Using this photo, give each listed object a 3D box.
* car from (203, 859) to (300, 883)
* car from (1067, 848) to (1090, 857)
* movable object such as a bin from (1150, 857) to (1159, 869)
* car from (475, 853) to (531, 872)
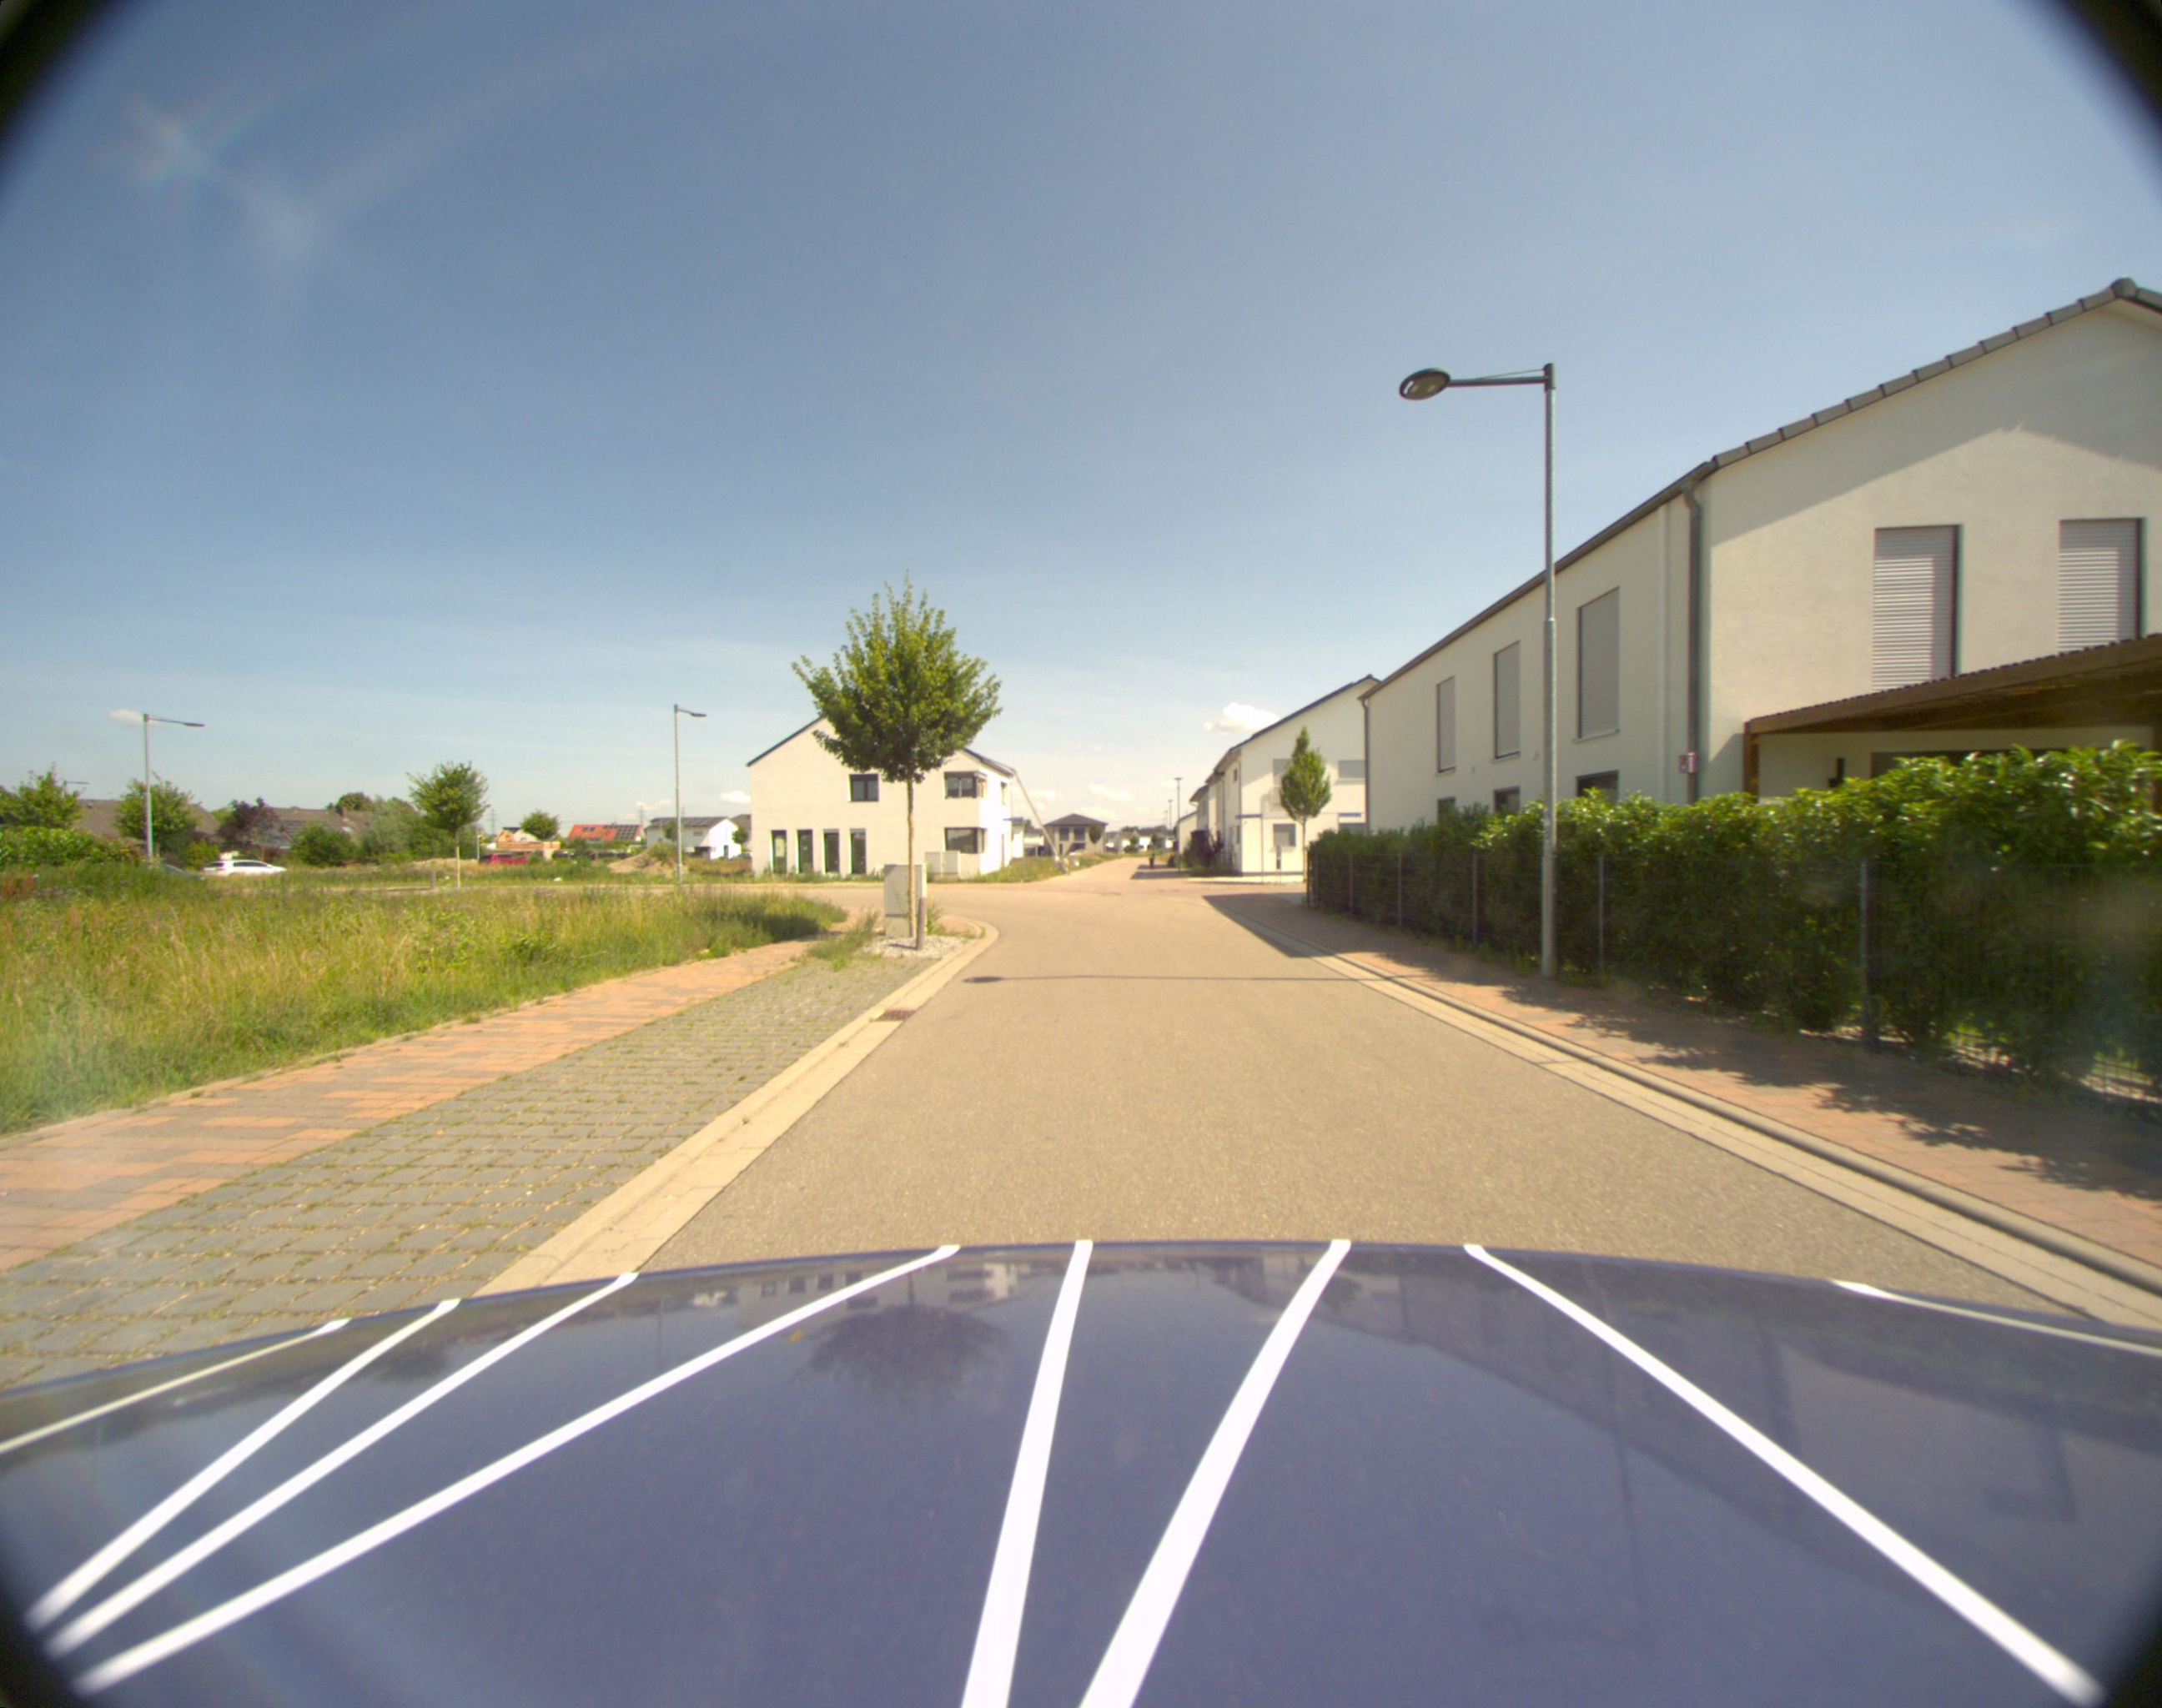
[{"bbox_3d":[-55.311,1.117,50.745,1.807,1.494,4.002,0,1,9],"label":"car"},{"bbox_3d":[-0.466,-0.323,132.999,3.998,1.543,1.834,-1,1,-2],"label":"car"},{"bbox_3d":[5.601,0.657,57.905,0.597,0.916,0.462,-1,1,6],"label":"movable object such as a bin"},{"bbox_3d":[-53.090,0.742,69.833,1.807,1.606,4.001,0,1,6],"label":"car"}]
